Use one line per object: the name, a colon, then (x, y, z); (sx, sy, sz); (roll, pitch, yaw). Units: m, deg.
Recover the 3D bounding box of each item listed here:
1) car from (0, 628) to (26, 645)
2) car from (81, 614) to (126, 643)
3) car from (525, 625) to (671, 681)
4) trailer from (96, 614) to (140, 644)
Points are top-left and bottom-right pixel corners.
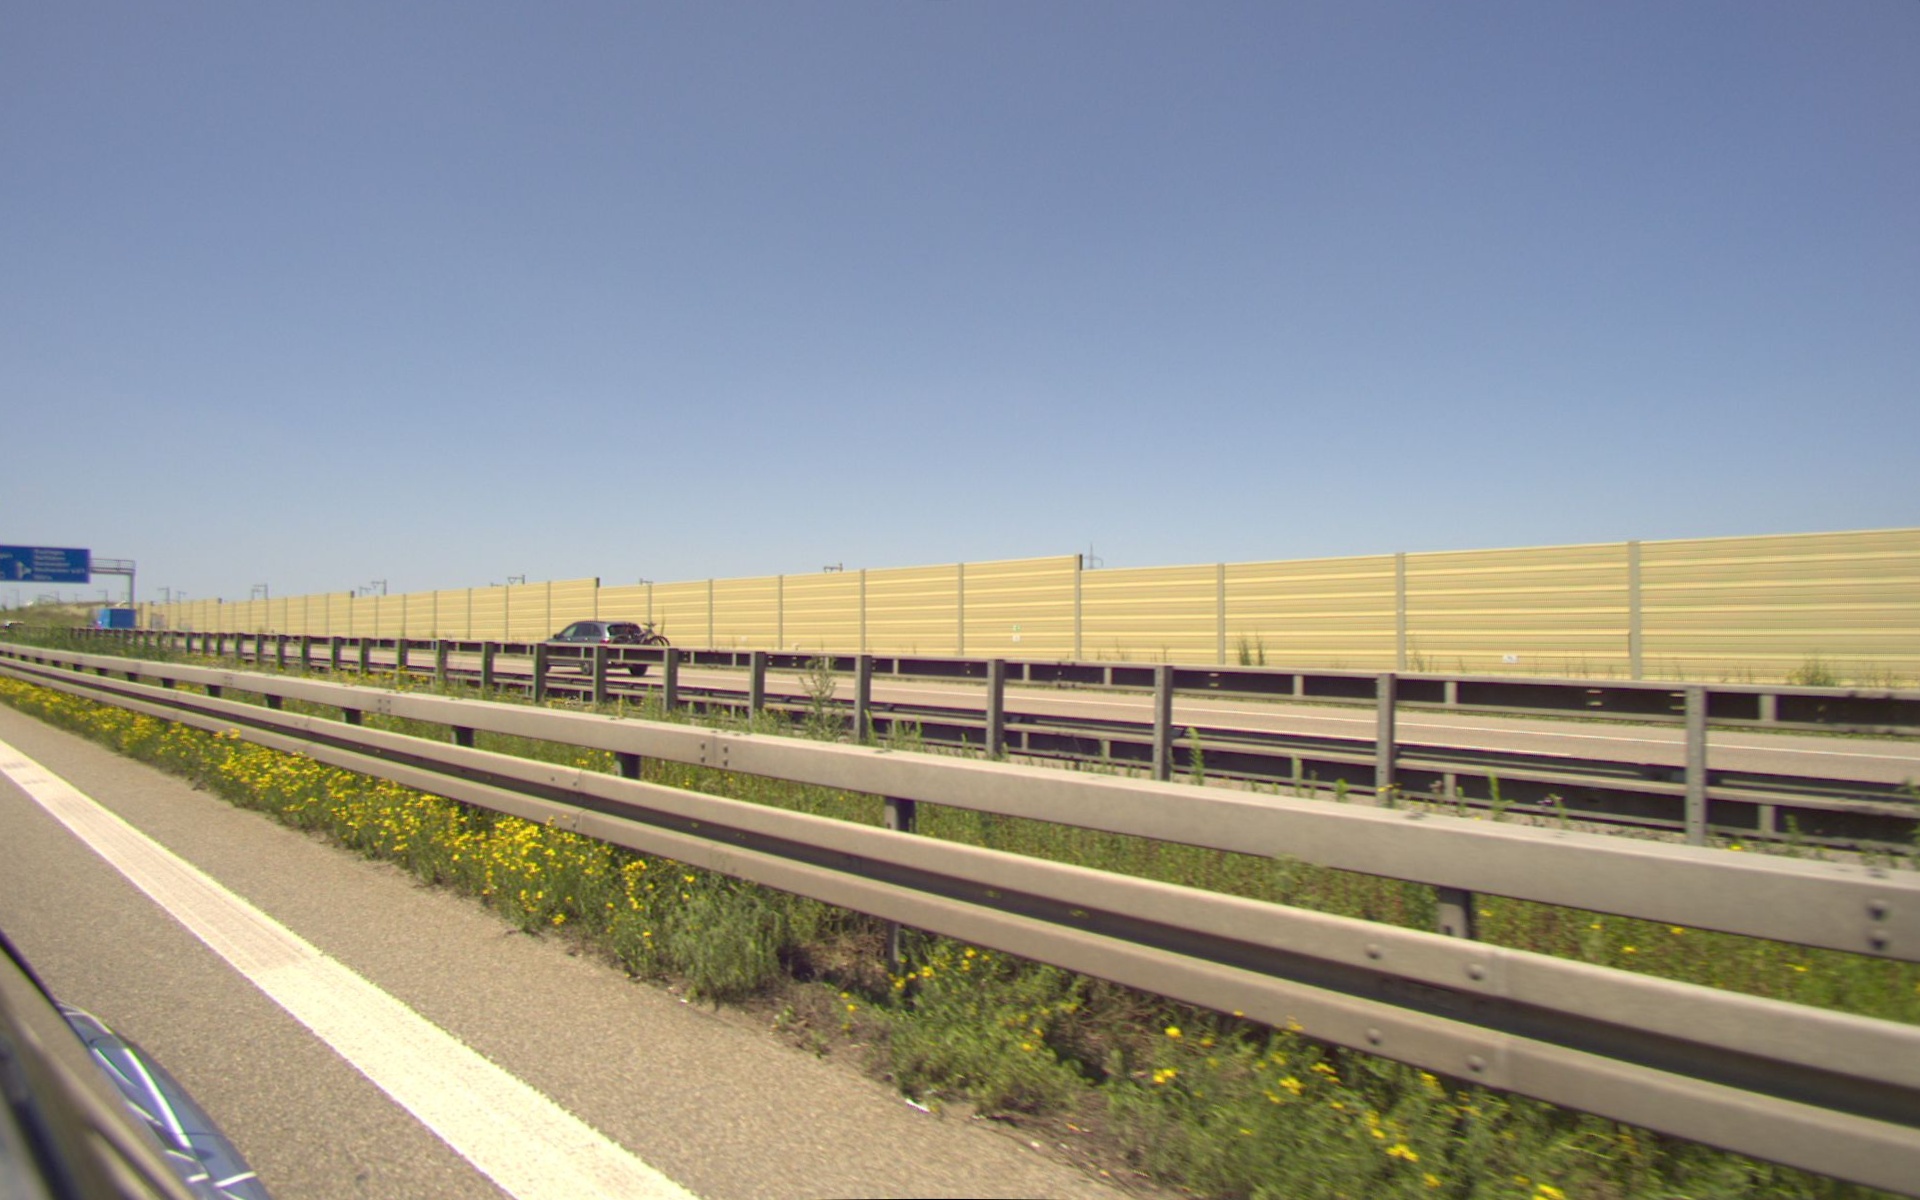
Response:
car: (-89.256, 3.397, 94.849); (4.720, 1.442, 1.874); (-1, -5, 40)
car: (-70.439, 2.330, 83.228); (5.093, 2.242, 1.974); (-1, -1, 40)
car: (-11.200, 1.608, 31.104); (5.244, 1.582, 1.876); (-1, -4, 41)
trailer: (-66.836, 2.252, 80.293); (4.201, 2.255, 1.974); (-1, 0, 40)
